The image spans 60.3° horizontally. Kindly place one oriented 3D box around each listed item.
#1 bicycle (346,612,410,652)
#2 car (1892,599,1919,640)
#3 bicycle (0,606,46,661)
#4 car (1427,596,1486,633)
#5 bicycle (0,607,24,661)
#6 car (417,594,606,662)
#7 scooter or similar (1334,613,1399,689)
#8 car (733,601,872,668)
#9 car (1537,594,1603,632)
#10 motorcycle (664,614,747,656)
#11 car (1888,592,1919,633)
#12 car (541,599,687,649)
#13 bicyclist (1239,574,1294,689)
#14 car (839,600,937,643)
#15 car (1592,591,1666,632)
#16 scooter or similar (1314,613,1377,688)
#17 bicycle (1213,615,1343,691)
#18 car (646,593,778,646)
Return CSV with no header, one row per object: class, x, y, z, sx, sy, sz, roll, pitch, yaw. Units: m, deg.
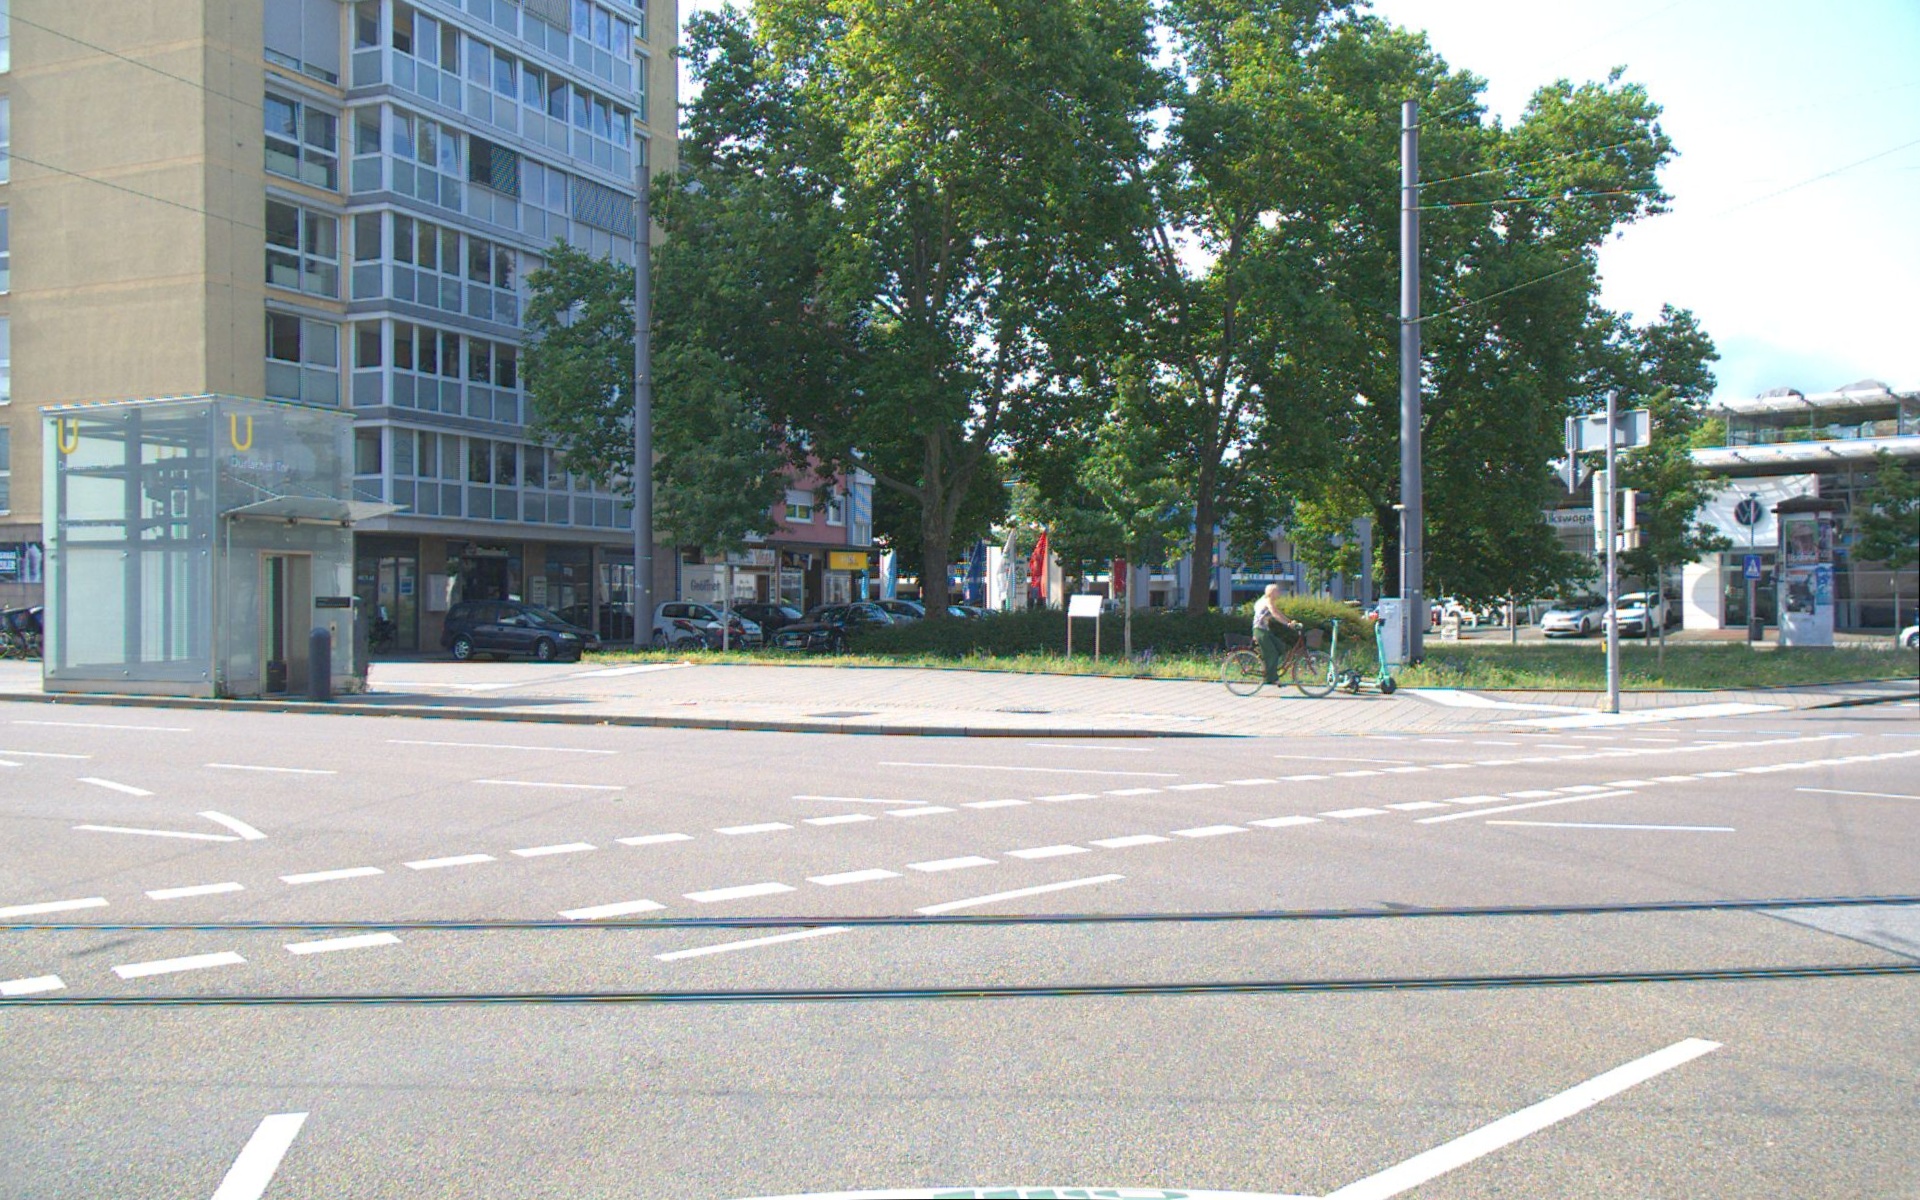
bicycle,-15.333,0.834,43.623,0.665,1.037,1.782,0,0,18
car,33.818,0.625,55.109,4.473,1.378,1.986,-2,-1,45
bicycle,-23.131,0.807,40.515,1.609,1.222,0.487,3,3,28
car,22.875,0.660,76.126,1.650,1.624,3.992,-1,-1,30
bicycle,-23.421,0.804,40.031,1.609,1.222,0.548,3,3,28
car,-11.309,0.678,41.732,4.288,1.613,2.000,1,0,22
scooter or similar,6.493,0.810,26.417,0.911,1.178,0.380,1,2,-16
car,-4.039,0.858,43.038,1.756,1.444,3.997,4,3,25
car,26.777,0.578,72.514,1.957,1.601,3.990,-2,-1,32
motorcycle,-5.962,0.820,38.751,1.861,0.918,0.602,-1,1,-20
car,36.686,0.452,63.392,1.884,1.470,3.992,-1,0,30
car,-9.962,0.701,47.579,3.906,1.350,1.585,-1,-1,23
bicyclist,4.816,0.495,25.977,0.808,1.775,0.712,-1,-1,12
car,-2.852,0.863,65.457,3.537,1.622,1.664,-1,-1,27
car,28.662,0.479,70.770,2.033,1.632,3.985,-1,0,36
scooter or similar,6.284,0.822,26.967,0.908,1.178,0.381,1,2,-4
bicycle,4.987,0.822,25.937,1.943,1.147,0.790,-1,-1,12
car,-7.678,0.604,51.268,3.490,1.557,1.999,-1,-1,23
